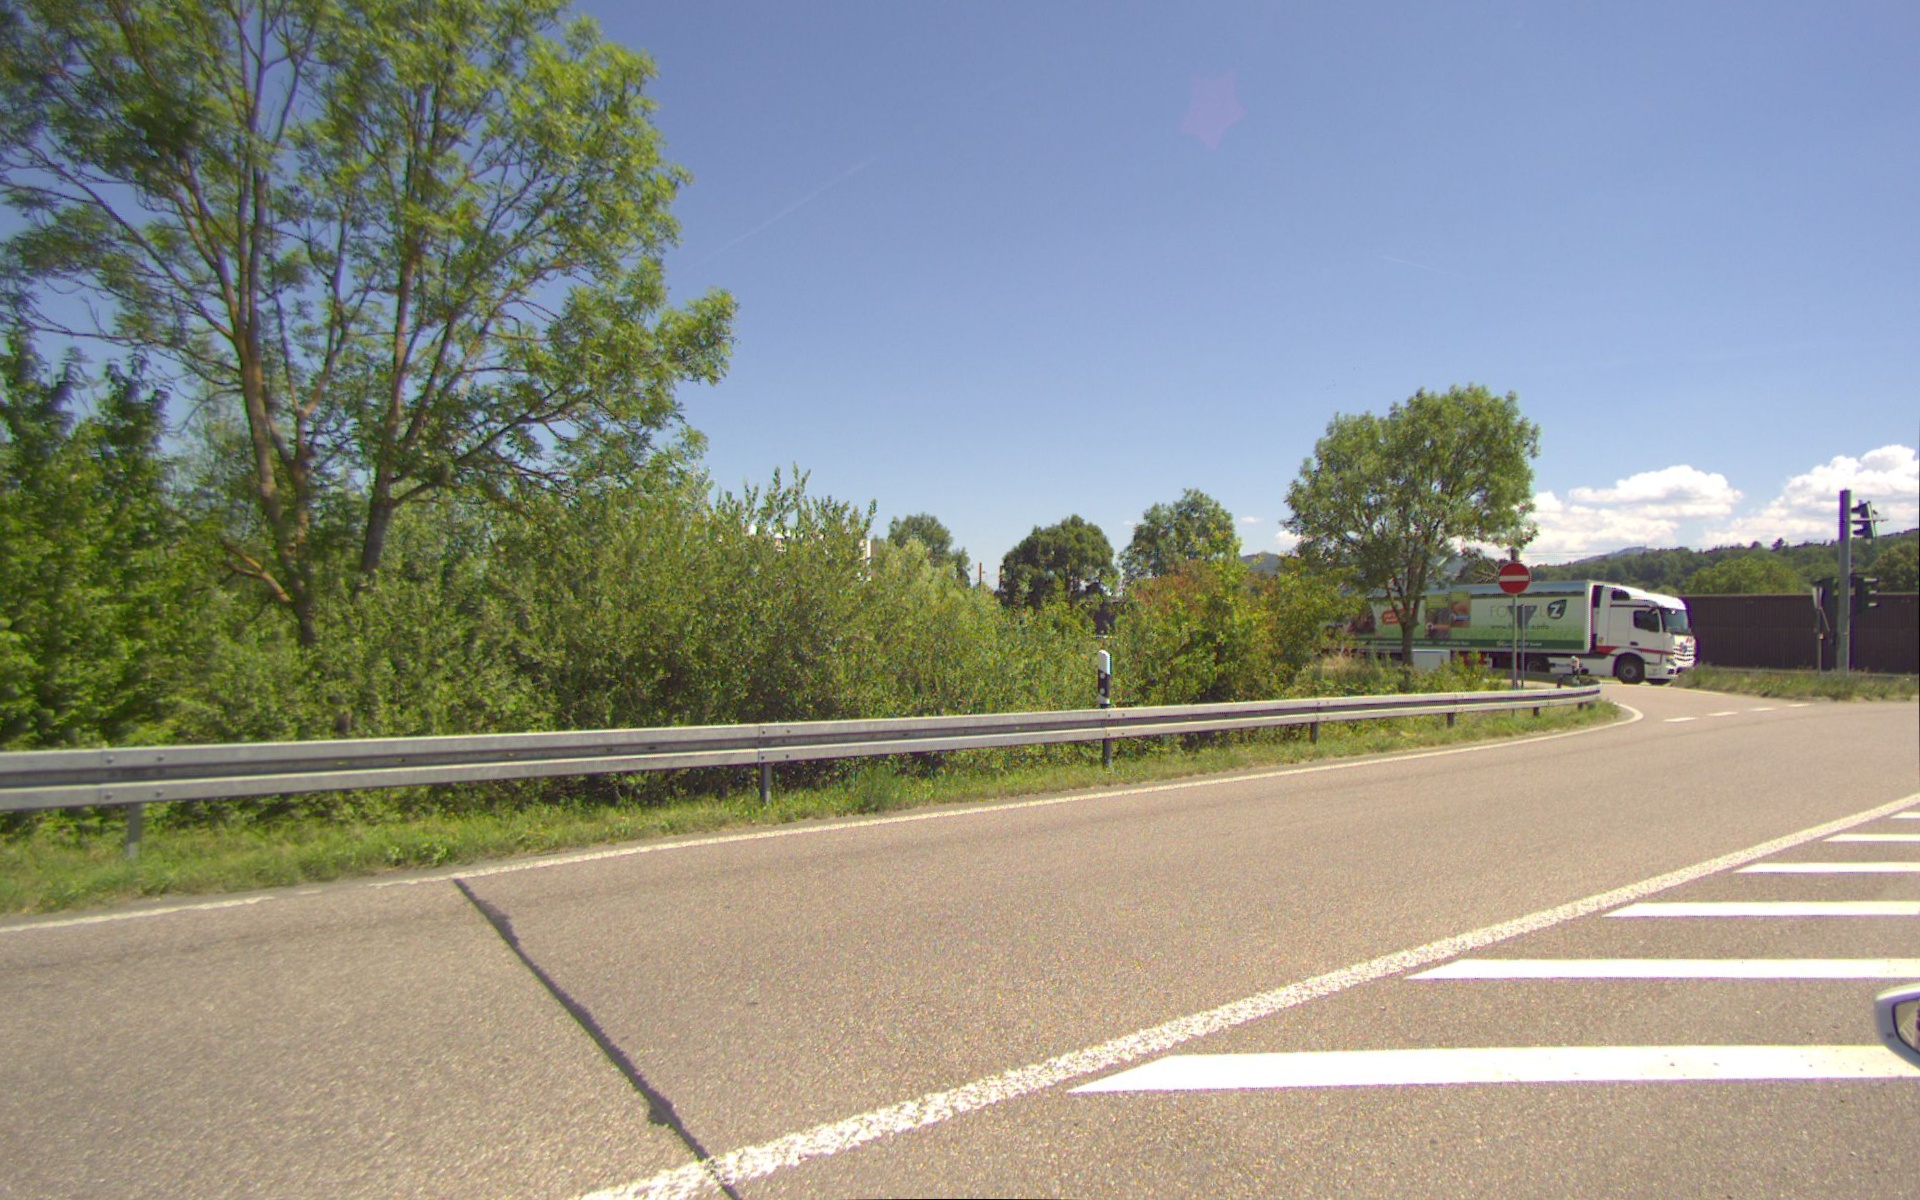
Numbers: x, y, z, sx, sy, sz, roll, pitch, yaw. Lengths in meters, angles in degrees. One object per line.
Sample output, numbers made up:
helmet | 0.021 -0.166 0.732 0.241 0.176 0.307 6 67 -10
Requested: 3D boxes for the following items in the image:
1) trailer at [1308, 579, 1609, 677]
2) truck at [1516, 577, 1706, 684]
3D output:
trailer | 22.647 1.196 47.091 3.027 4.006 13.074 2 -1 -31
truck | 26.341 1.196 40.857 3.027 4.006 5.736 2 -1 -31
